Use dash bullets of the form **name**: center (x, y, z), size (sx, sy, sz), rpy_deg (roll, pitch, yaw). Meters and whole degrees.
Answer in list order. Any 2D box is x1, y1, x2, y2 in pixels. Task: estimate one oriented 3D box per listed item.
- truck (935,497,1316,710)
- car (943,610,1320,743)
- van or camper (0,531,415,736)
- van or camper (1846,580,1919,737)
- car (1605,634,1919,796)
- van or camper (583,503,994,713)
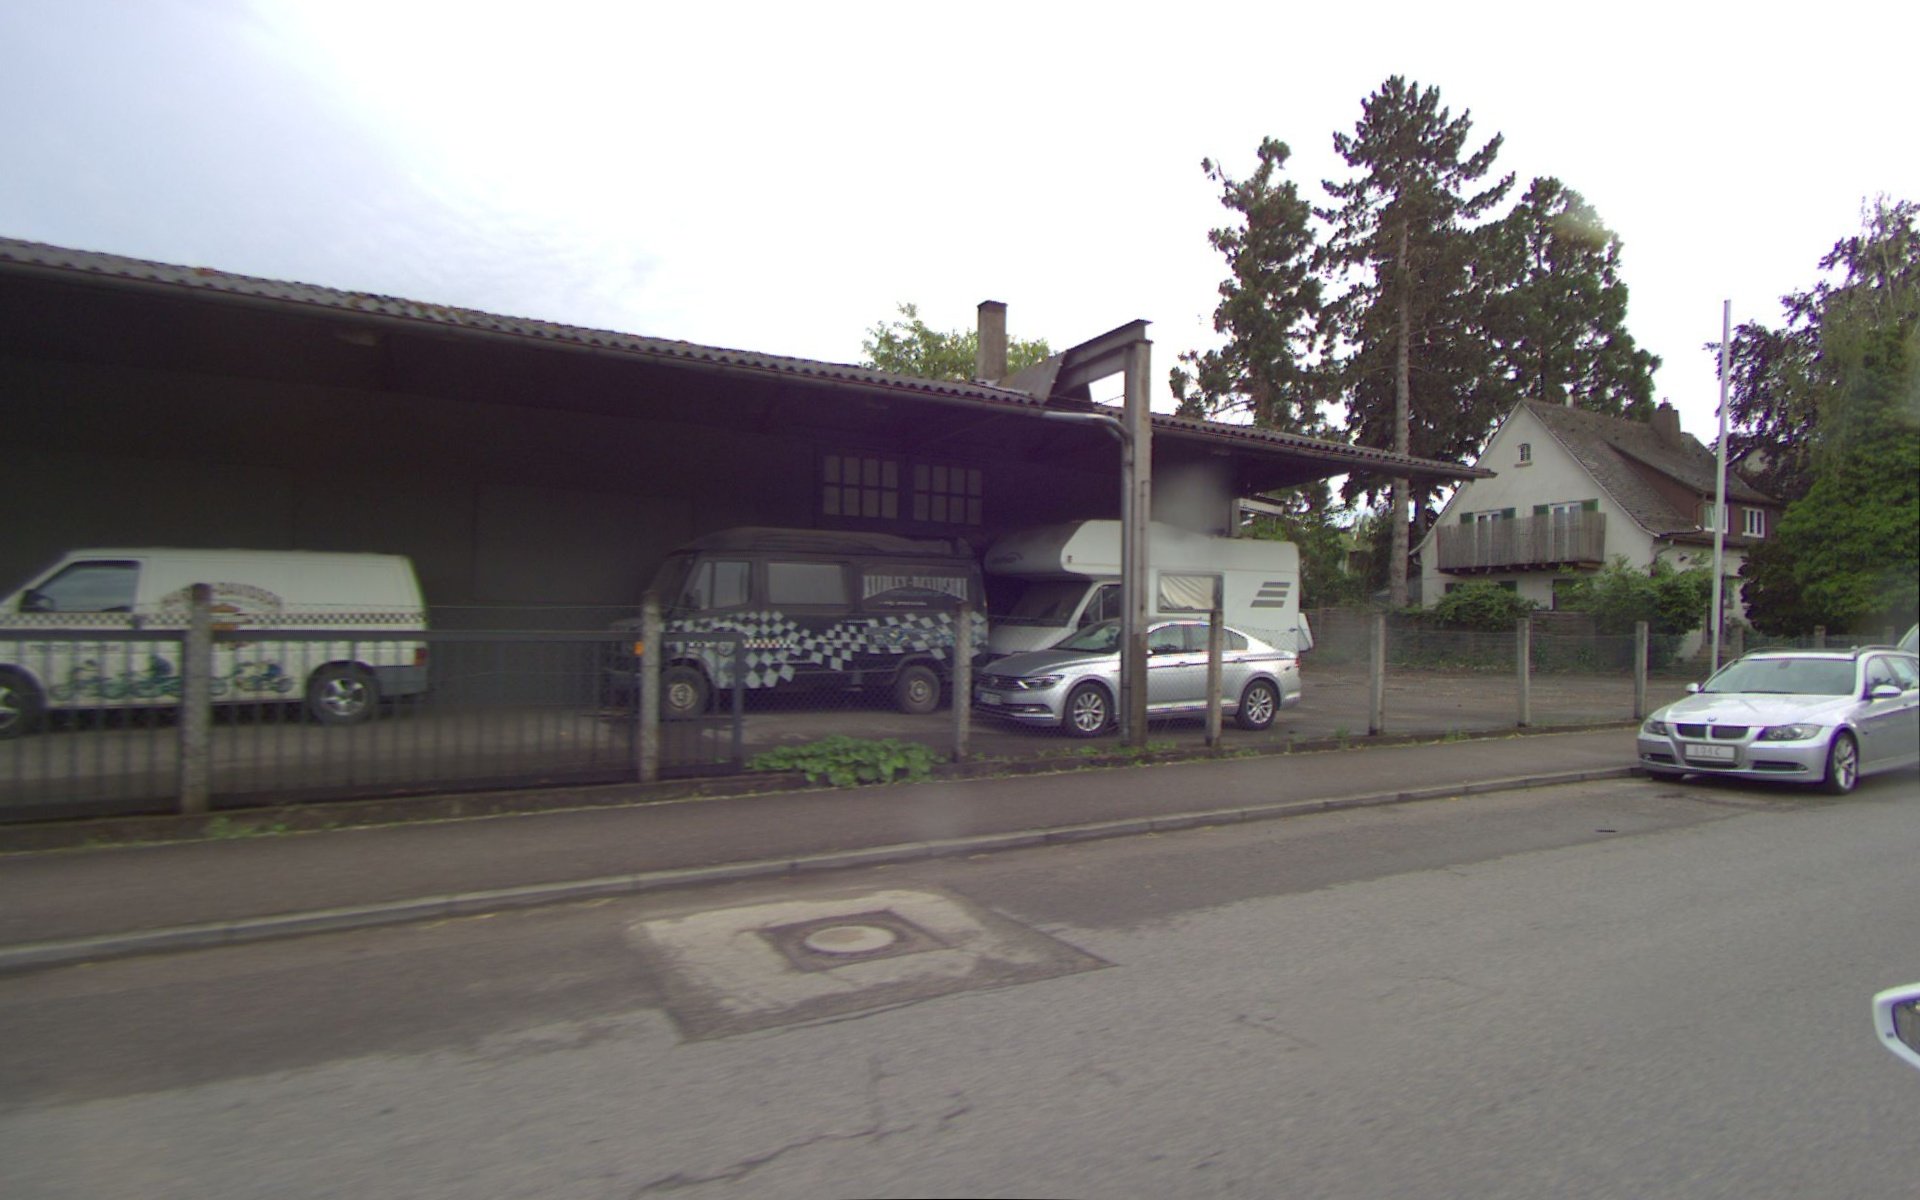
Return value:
- **truck**: center (2.794, 0.139, 16.467), size (5.885, 2.966, 2.384), rpy_deg (3, 0, -29)
- **car**: center (2.317, 0.950, 13.243), size (4.724, 1.463, 1.928), rpy_deg (2, -1, -29)
- **van or camper**: center (-8.532, 0.331, 10.977), size (4.421, 1.934, 1.983), rpy_deg (2, 1, -31)
- **van or camper**: center (14.832, 0.911, 14.197), size (5.037, 2.040, 1.882), rpy_deg (4, 0, -30)
- **car**: center (9.218, 1.231, 11.115), size (4.133, 1.499, 1.736), rpy_deg (4, -4, -28)
- **van or camper**: center (-2.269, 0.209, 13.870), size (5.174, 2.469, 1.850), rpy_deg (4, 0, -31)
